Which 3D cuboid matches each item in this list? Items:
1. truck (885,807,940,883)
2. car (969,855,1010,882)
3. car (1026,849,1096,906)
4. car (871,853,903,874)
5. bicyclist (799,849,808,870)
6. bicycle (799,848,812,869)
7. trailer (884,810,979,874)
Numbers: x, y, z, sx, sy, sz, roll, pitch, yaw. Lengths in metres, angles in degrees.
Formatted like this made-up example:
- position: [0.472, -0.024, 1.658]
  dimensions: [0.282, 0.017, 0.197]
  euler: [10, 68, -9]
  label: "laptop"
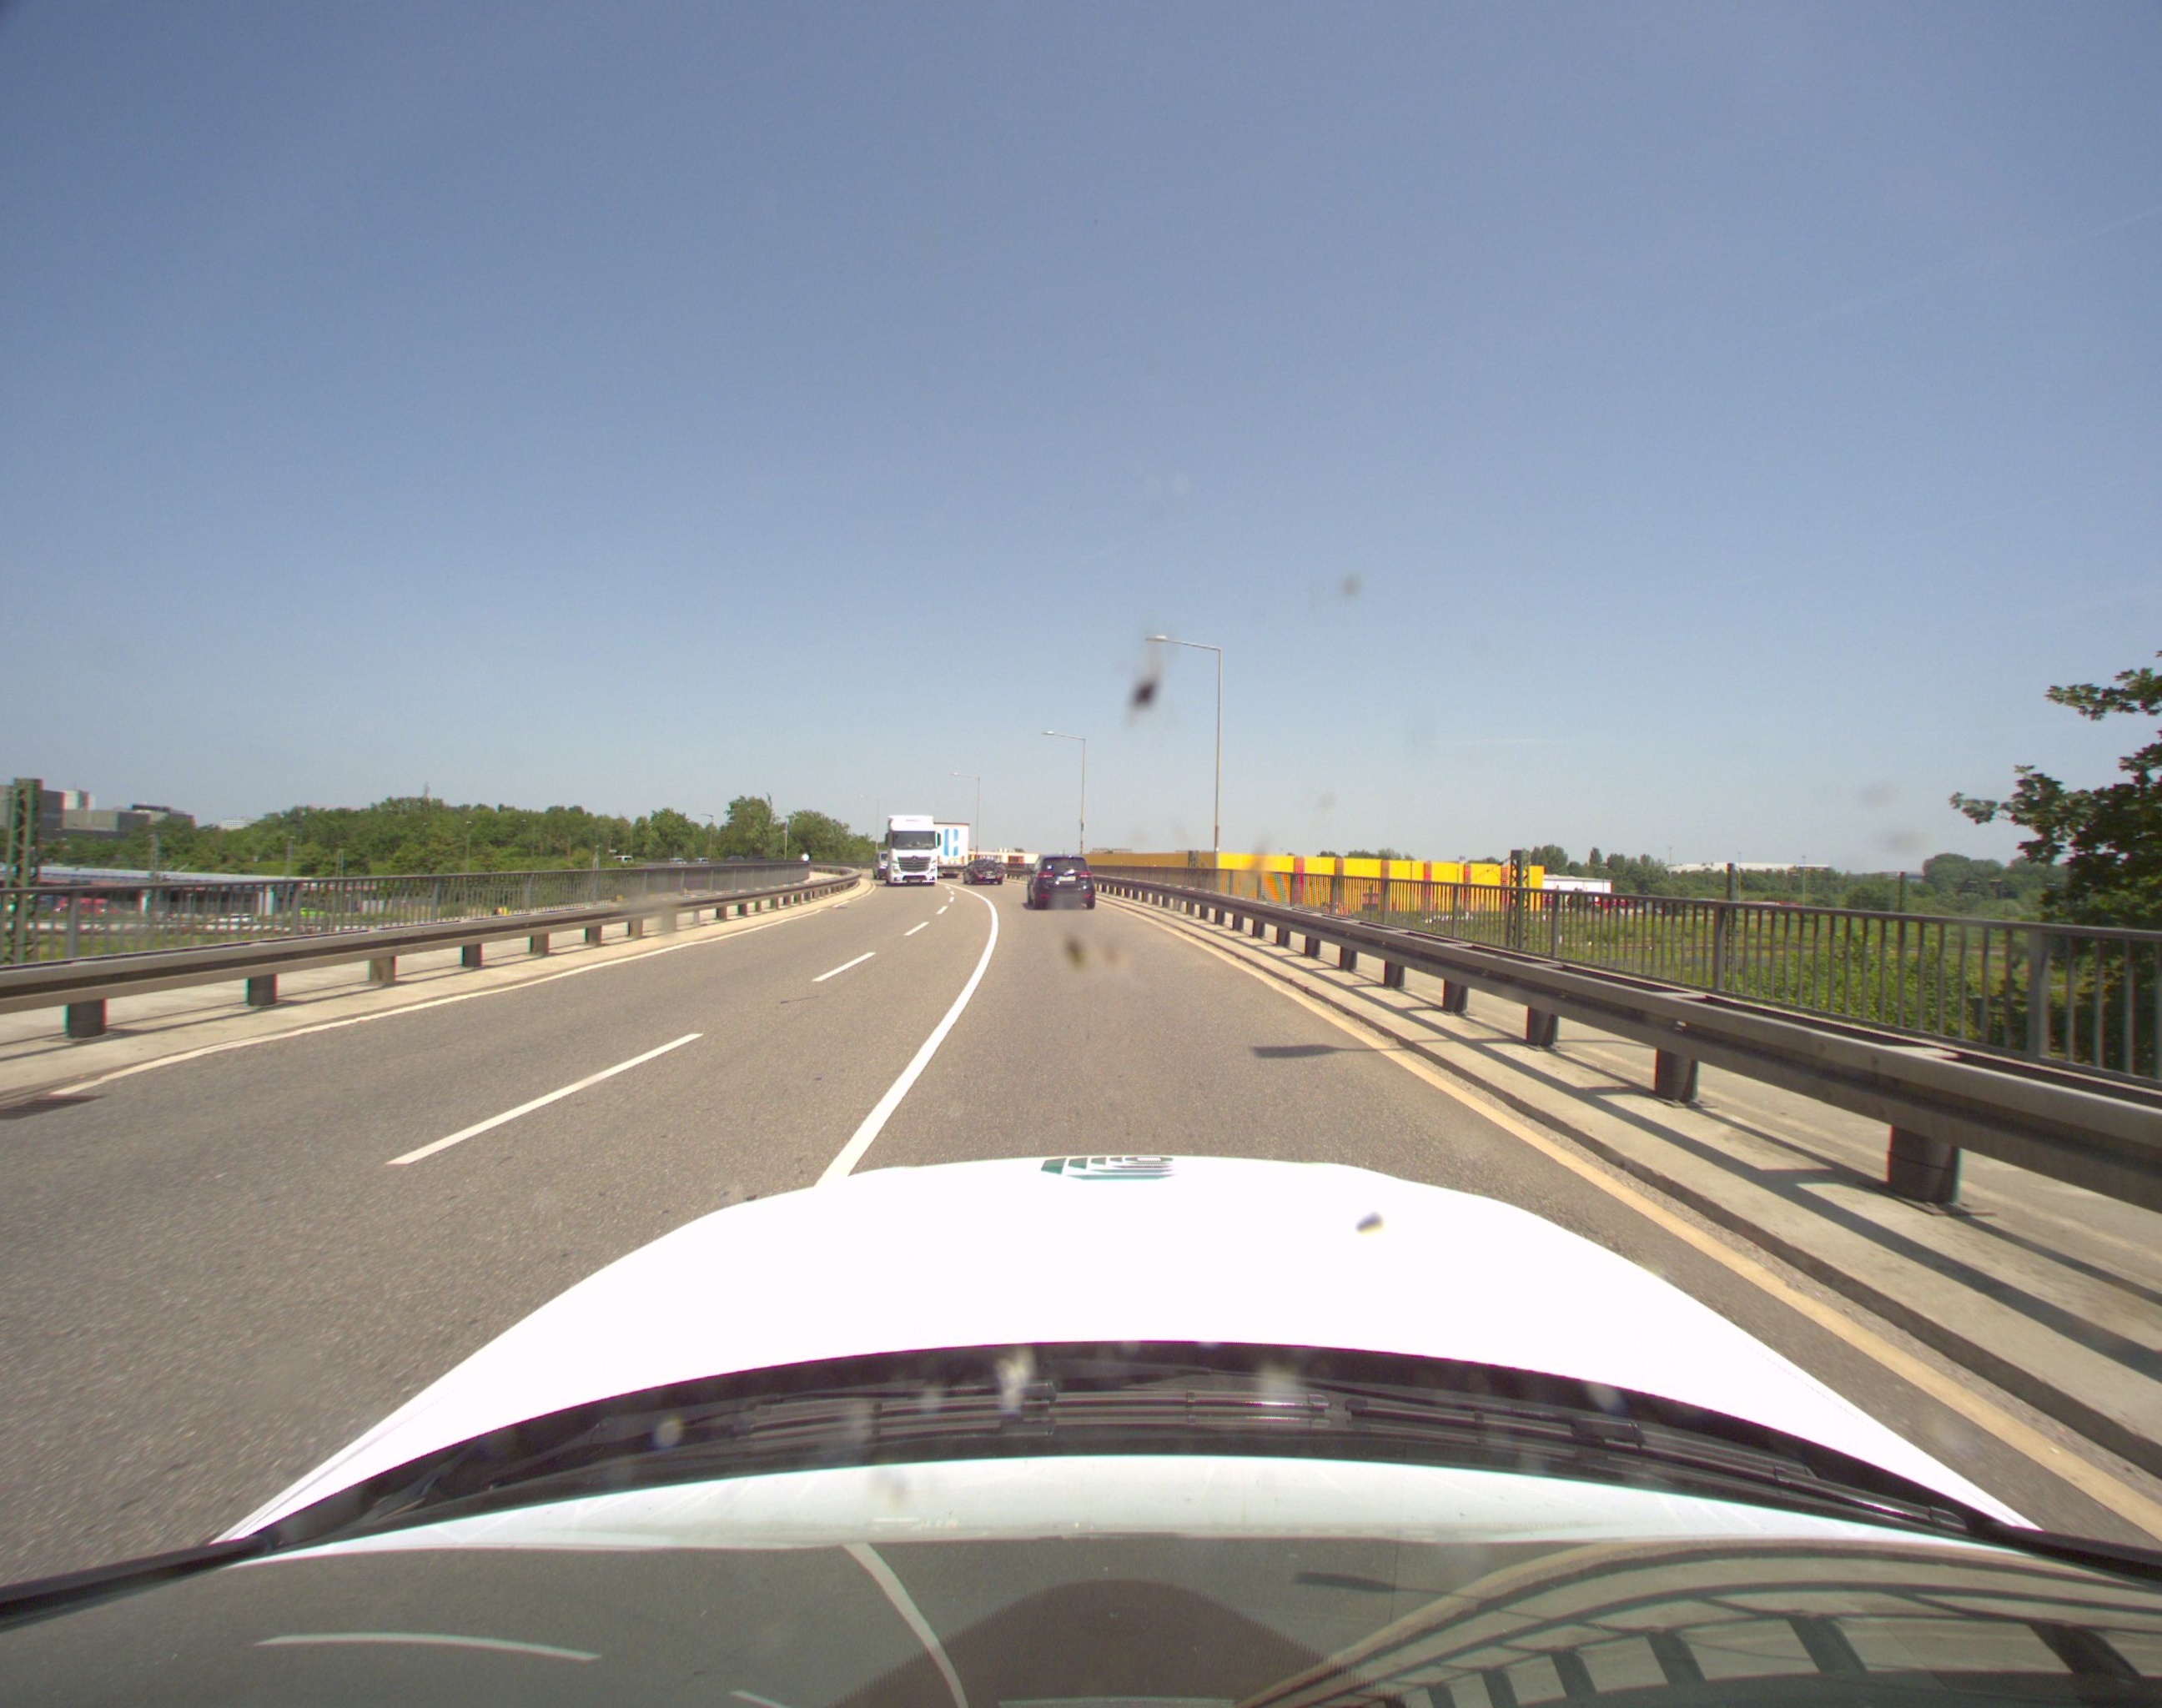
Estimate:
- position: [-9.603, -0.499, 45.929]
  dimensions: [2.710, 3.991, 6.155]
  euler: [0, 0, -15]
  label: "truck"
- position: [-5.115, 0.779, 45.137]
  dimensions: [2.012, 1.429, 3.764]
  euler: [0, 0, -10]
  label: "car"
- position: [-0.686, 0.649, 24.531]
  dimensions: [1.918, 1.574, 3.886]
  euler: [1, 0, -4]
  label: "car"
- position: [-13.515, 0.621, 56.641]
  dimensions: [1.566, 1.386, 3.587]
  euler: [0, 0, -23]
  label: "car"
- position: [-25.215, 0.457, 74.106]
  dimensions: [0.628, 1.886, 0.705]
  euler: [0, 0, -30]
  label: "bicyclist"
- position: [-24.930, 0.404, 73.561]
  dimensions: [0.702, 1.801, 2.160]
  euler: [0, 0, -30]
  label: "bicycle"
- position: [-11.529, -0.868, 61.473]
  dimensions: [3.591, 4.384, 11.334]
  euler: [0, 0, -29]
  label: "trailer"
